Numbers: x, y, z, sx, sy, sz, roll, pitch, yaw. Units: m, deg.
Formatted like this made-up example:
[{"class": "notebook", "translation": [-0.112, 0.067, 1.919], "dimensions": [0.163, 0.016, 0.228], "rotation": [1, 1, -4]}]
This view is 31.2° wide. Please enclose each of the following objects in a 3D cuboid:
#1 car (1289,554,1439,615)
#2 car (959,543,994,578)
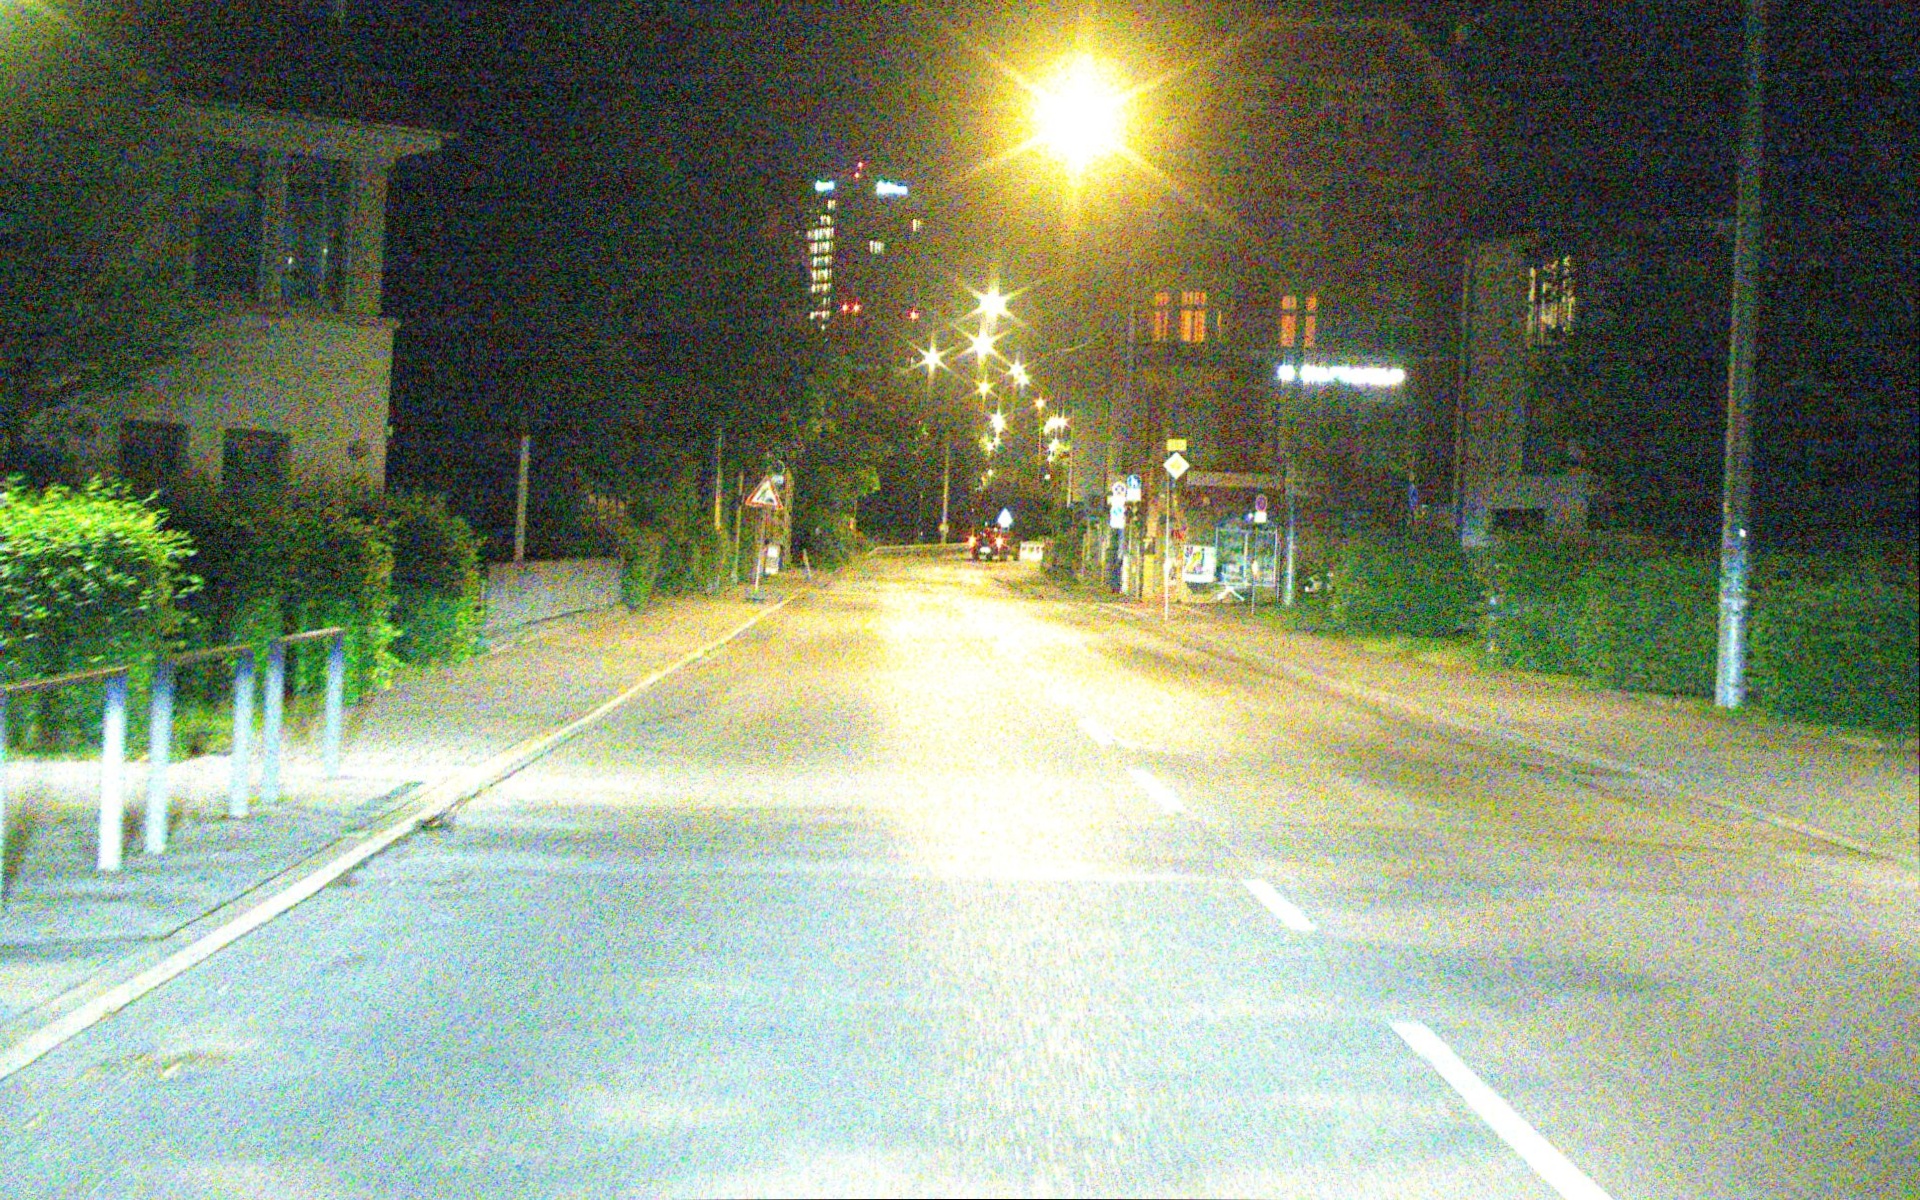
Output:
[{"class": "car", "translation": [11.264, -0.432, 95.946], "dimensions": [3.837, 1.539, 1.809], "rotation": [2, 1, -4]}, {"class": "car", "translation": [0.933, -2.285, 197.746], "dimensions": [1.924, 1.848, 4.000], "rotation": [2, -1, -1]}]
